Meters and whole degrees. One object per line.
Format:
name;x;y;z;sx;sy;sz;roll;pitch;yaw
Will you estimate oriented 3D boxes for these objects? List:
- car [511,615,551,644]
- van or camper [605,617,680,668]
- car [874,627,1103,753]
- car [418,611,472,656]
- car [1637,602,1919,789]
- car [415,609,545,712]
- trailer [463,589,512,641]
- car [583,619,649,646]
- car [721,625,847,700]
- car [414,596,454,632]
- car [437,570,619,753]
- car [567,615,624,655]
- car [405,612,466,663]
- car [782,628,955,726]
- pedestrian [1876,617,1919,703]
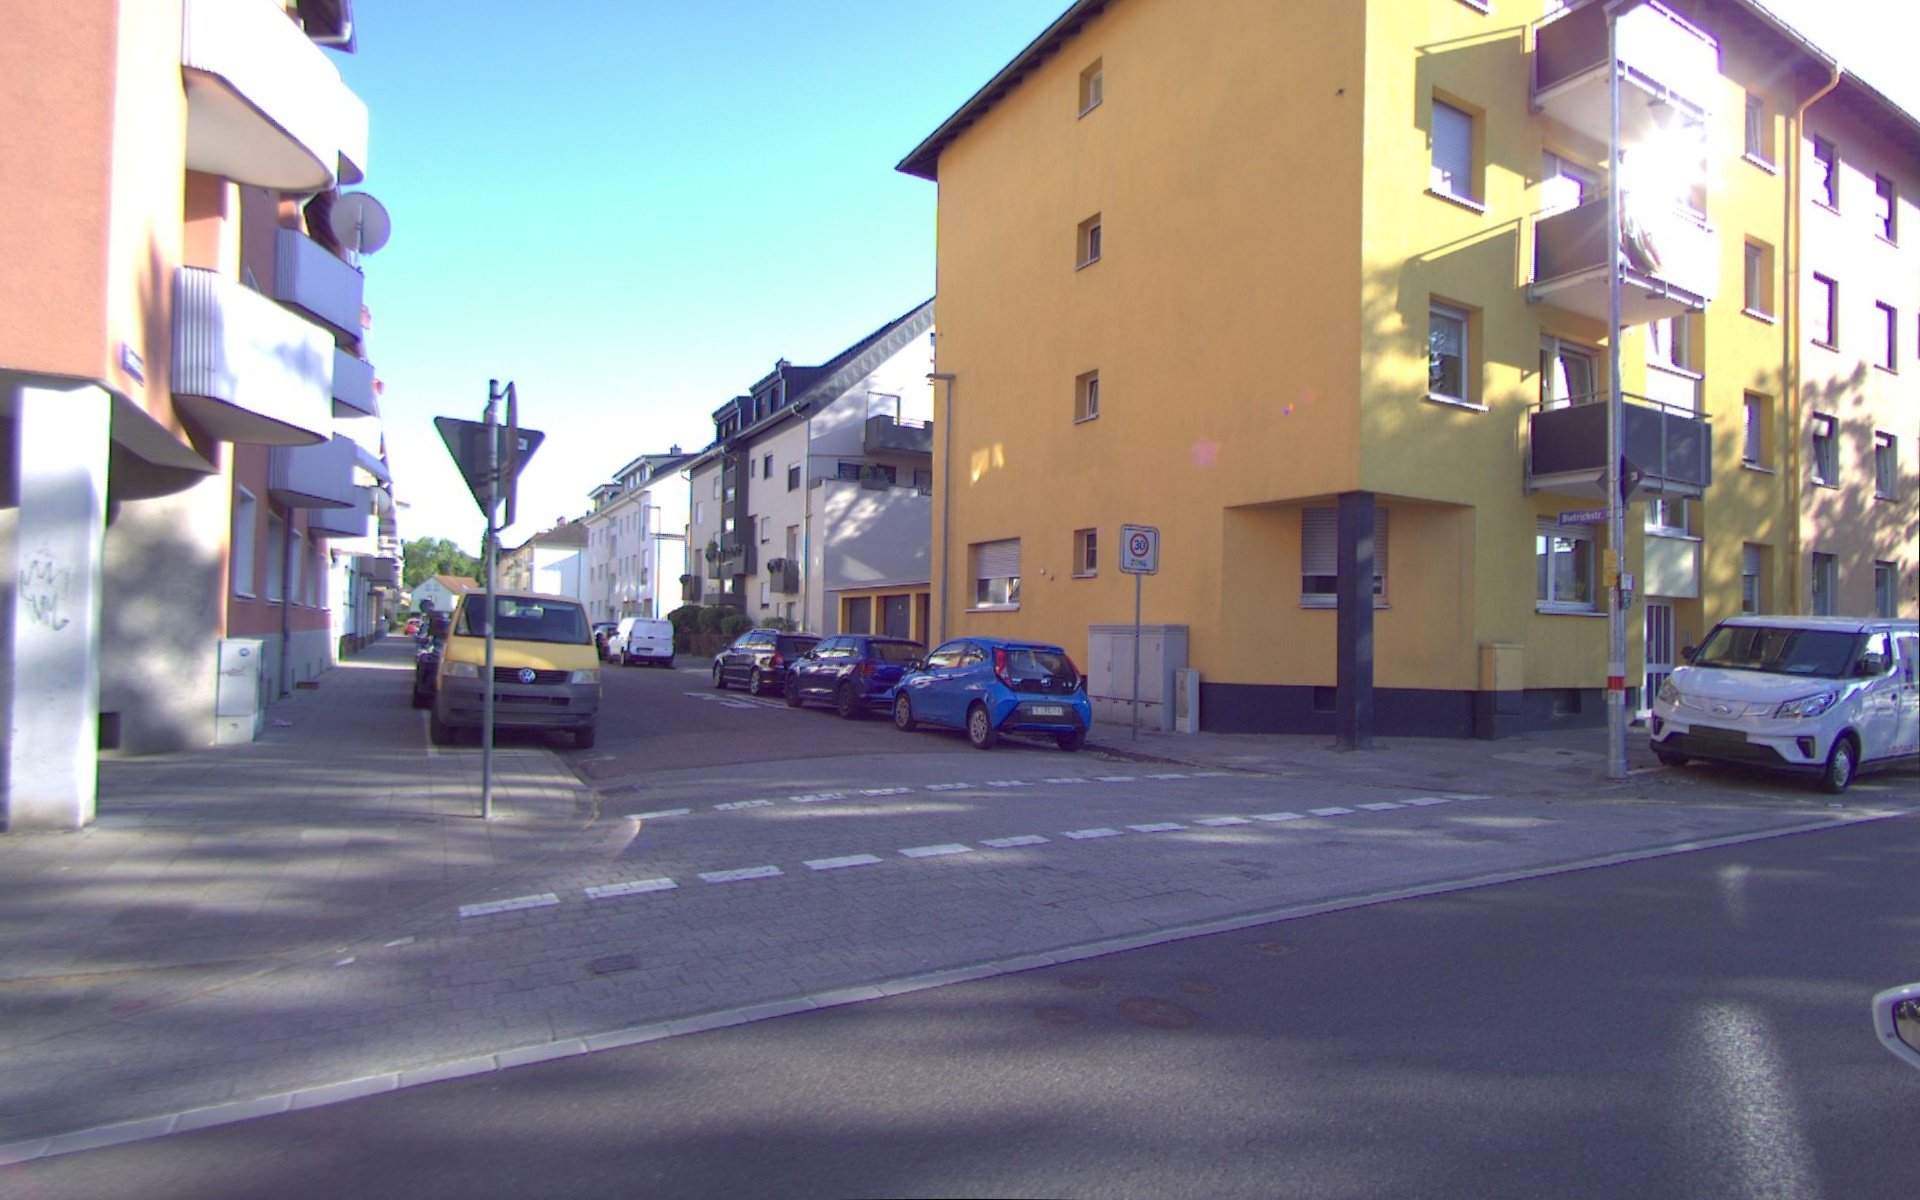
car;-29.634;2.027;69.341;1.977;1.804;3.967;3;-2;-30
van or camper;-11.933;1.564;37.618;1.848;1.794;4.258;2;-2;-29
car;0.283;1.210;14.765;1.727;1.587;3.768;2;-2;-28
car;-21.908;1.438;42.747;1.895;1.791;4.278;2;-2;-27
car;10.688;1.064;12.412;5.146;1.932;1.726;2;-1;-29
car;-8.907;1.056;18.567;1.895;1.647;4.433;2;-2;-27
trailer;-28.799;0.898;61.157;2.213;2.931;5.098;3;-1;-29
car;-21.247;2.034;62.032;3.726;1.587;1.738;2;-2;-25
car;-4.206;1.403;23.548;1.727;1.587;3.974;2;-2;-28
car;-31.905;0.826;60.851;1.976;2.040;3.970;3;-2;-29
car;-6.044;0.774;13.754;1.895;2.040;4.729;2;-2;-27
car;-17.278;1.649;47.481;1.896;1.791;4.277;2;-2;-28
car;-19.720;1.408;37.840;1.895;1.791;4.278;2;-2;-27
car;-1.785;1.315;18.371;1.727;1.587;3.974;2;-2;-28
pedestrian;20.602;1.293;21.790;0.922;1.792;0.762;2;1;-30
